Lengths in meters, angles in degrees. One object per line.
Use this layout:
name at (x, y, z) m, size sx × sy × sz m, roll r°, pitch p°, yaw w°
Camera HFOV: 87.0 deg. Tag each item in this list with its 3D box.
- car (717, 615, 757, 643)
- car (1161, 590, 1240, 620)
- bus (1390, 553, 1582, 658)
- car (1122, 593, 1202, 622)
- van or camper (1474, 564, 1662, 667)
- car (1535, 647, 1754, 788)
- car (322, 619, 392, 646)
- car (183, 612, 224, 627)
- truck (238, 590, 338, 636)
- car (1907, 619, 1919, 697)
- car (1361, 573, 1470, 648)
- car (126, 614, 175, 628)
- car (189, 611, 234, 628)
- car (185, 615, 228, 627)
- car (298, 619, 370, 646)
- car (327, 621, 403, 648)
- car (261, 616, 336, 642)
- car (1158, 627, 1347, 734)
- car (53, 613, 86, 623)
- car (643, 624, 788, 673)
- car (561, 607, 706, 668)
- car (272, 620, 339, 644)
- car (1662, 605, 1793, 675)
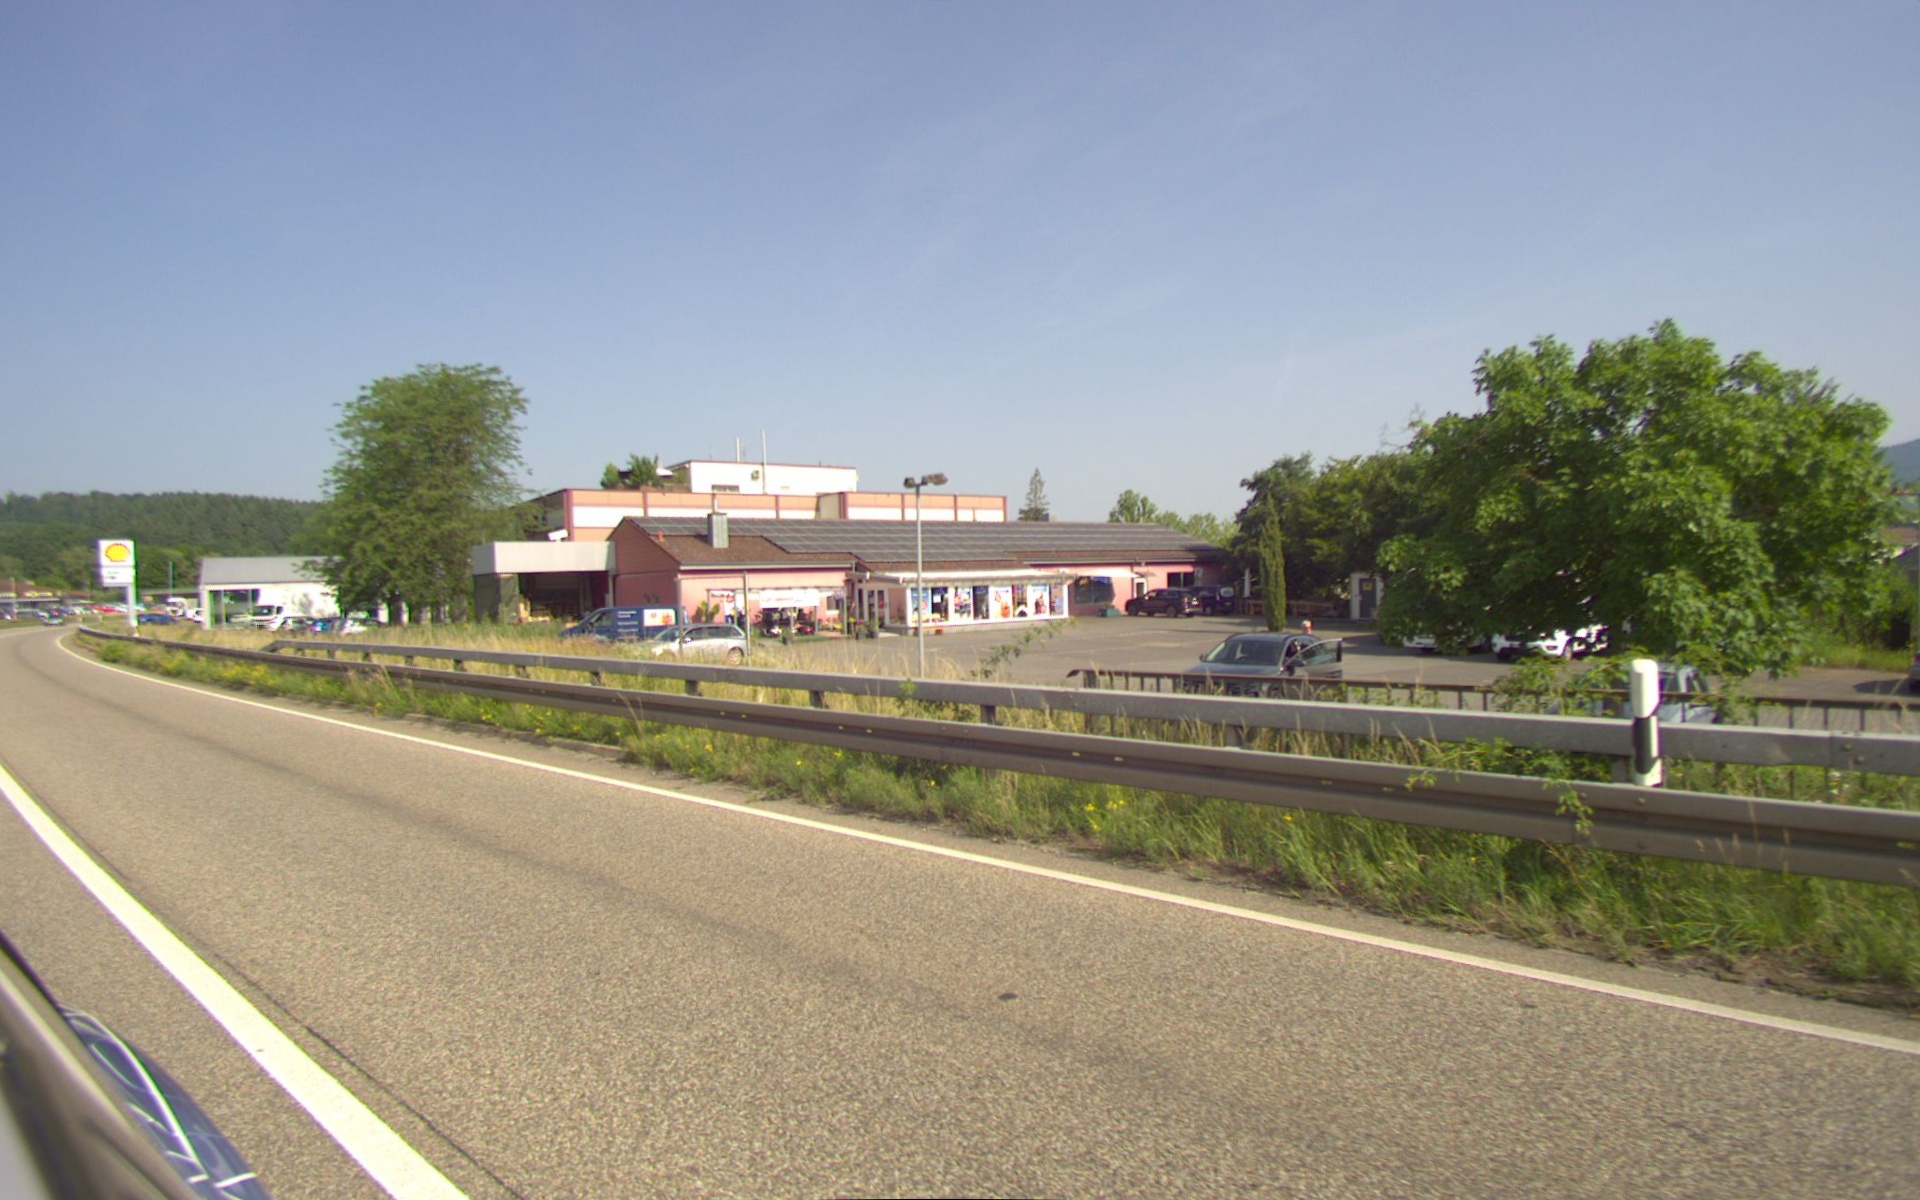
car at (-9.897, 1.260, 44.912) m, size 0.805 × 1.154 × 2.019 m, roll -1°, pitch 1°, yaw -43°
car at (14.694, 0.311, 62.119) m, size 1.715 × 1.770 × 4.640 m, roll -1°, pitch 0°, yaw -38°
bus at (19.284, 0.091, 36.784) m, size 8.984 × 3.380 × 2.670 m, roll -3°, pitch -1°, yaw -39°
car at (11.904, 0.470, 59.971) m, size 1.715 × 1.620 × 4.640 m, roll -1°, pitch 0°, yaw -38°
van or camper at (19.530, 0.373, 32.302) m, size 7.301 × 2.863 × 2.752 m, roll -3°, pitch 1°, yaw -39°
car at (9.997, 1.554, 14.643) m, size 1.875 × 1.516 × 4.251 m, roll -1°, pitch 0°, yaw 45°
car at (-38.638, 2.085, 64.870) m, size 3.698 × 1.511 × 1.862 m, roll -2°, pitch 1°, yaw -36°
car at (-108.806, 2.861, 145.646) m, size 4.610 × 1.871 × 2.149 m, roll -3°, pitch 1°, yaw -36°
truck at (-56.017, 0.991, 84.661) m, size 2.768 × 3.583 × 8.209 m, roll -2°, pitch 1°, yaw 1°
car at (23.379, 1.260, 23.174) m, size 4.500 × 1.646 × 1.865 m, roll -3°, pitch 3°, yaw -39°
car at (18.092, 0.360, 40.103) m, size 4.958 × 2.680 × 1.865 m, roll -3°, pitch 1°, yaw -39°
car at (-95.700, 2.483, 119.756) m, size 1.966 × 1.518 × 4.213 m, roll -1°, pitch 0°, yaw 14°
car at (-101.565, 2.609, 137.400) m, size 4.729 × 1.996 × 2.234 m, roll -4°, pitch 1°, yaw -36°
car at (-98.799, 2.727, 132.768) m, size 1.880 × 1.413 × 4.211 m, roll -1°, pitch 1°, yaw 14°
car at (-41.171, 2.115, 66.605) m, size 3.703 × 1.511 × 1.934 m, roll -2°, pitch 1°, yaw -43°
car at (-36.653, 2.111, 62.378) m, size 3.703 × 1.471 × 1.864 m, roll -1°, pitch 0°, yaw -43°
car at (-49.044, 2.123, 75.051) m, size 4.301 × 1.667 × 1.933 m, roll -2°, pitch 1°, yaw -45°
car at (5.695, 1.430, 19.378) m, size 1.873 × 1.678 × 4.255 m, roll -1°, pitch 0°, yaw 41°
car at (-154.870, 3.126, 176.015) m, size 3.988 × 1.629 × 1.886 m, roll 0°, pitch 0°, yaw -27°
car at (-8.078, 1.559, 33.755) m, size 1.742 × 1.392 × 4.569 m, roll -1°, pitch 0°, yaw 40°
car at (-11.802, 1.330, 36.912) m, size 4.825 × 2.029 × 2.005 m, roll -1°, pitch 0°, yaw -11°
car at (-47.174, 2.272, 72.963) m, size 3.704 × 1.511 × 1.933 m, roll -2°, pitch 1°, yaw -45°
car at (21.362, 1.046, 28.114) m, size 4.500 × 1.645 × 1.865 m, roll -3°, pitch 1°, yaw -39°
